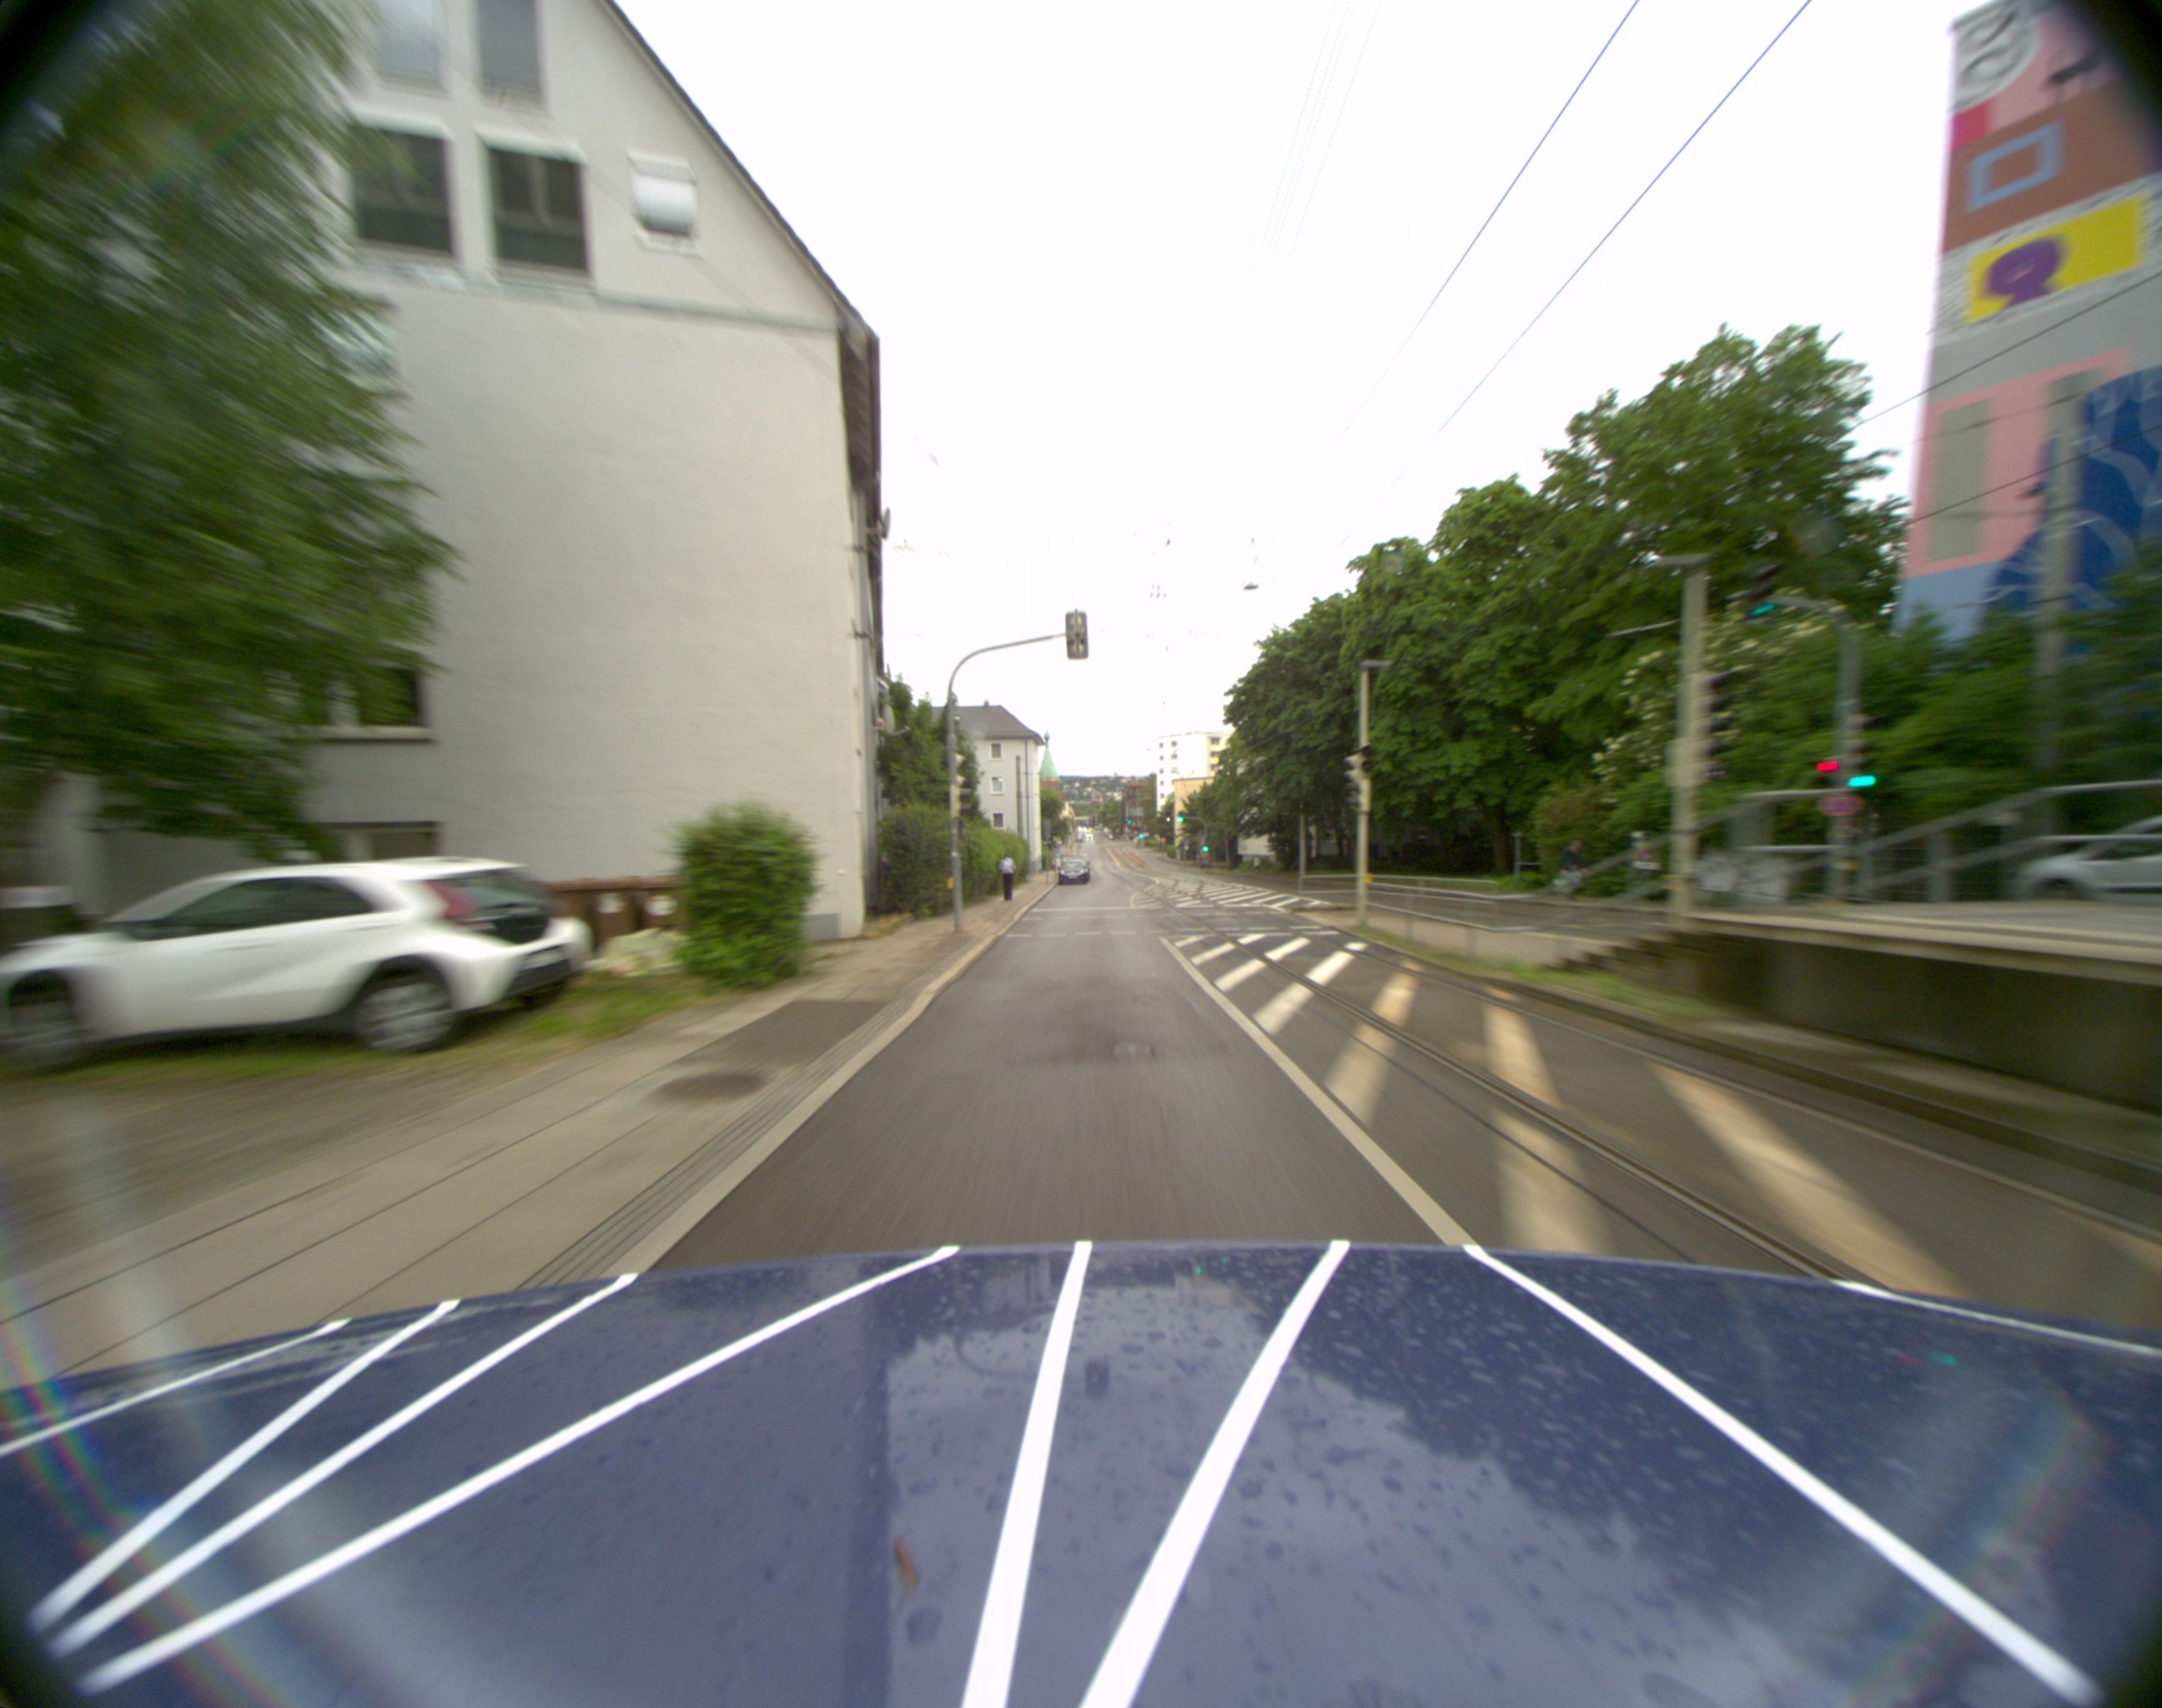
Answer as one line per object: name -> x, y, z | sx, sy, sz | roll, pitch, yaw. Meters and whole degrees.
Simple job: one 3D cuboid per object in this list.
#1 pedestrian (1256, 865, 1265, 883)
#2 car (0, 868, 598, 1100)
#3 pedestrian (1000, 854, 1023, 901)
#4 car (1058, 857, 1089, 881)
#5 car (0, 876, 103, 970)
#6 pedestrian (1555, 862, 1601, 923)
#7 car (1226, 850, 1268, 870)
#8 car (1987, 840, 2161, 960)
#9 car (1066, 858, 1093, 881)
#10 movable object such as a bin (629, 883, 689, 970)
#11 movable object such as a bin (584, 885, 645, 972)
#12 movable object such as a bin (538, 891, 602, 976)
pedestrian -> 14.609, 1.612, 61.831 | 0.529, 1.418, 0.529 | -3, 1, 2
car -> -6.731, 0.973, 6.419 | 3.998, 1.458, 1.816 | -3, 0, -5
pedestrian -> -2.405, 0.818, 26.365 | 0.657, 1.611, 0.630 | -1, 1, 5
car -> -0.436, 0.878, 46.811 | 1.725, 1.350, 4.000 | -2, 0, 1
car -> -18.396, 1.178, 11.793 | 1.690, 1.502, 3.996 | -3, 0, -12
pedestrian -> 13.455, 1.020, 20.581 | 0.755, 1.584, 0.617 | -3, 1, 2
car -> 16.730, 0.628, 76.850 | 3.994, 1.739, 2.002 | -3, 0, 11
car -> 16.477, 0.653, 10.840 | 1.751, 1.707, 4.441 | -1, 0, -1
car -> -0.063, 1.040, 52.587 | 1.725, 1.479, 4.000 | -2, 0, 1
movable object such as a bin -> -6.005, 1.011, 10.833 | 0.536, 1.133, 0.701 | -3, 1, -16
movable object such as a bin -> -6.561, 1.027, 10.713 | 0.517, 1.152, 0.642 | -2, 0, -13
movable object such as a bin -> -7.133, 1.088, 10.633 | 0.517, 1.105, 0.642 | -2, 0, -13
